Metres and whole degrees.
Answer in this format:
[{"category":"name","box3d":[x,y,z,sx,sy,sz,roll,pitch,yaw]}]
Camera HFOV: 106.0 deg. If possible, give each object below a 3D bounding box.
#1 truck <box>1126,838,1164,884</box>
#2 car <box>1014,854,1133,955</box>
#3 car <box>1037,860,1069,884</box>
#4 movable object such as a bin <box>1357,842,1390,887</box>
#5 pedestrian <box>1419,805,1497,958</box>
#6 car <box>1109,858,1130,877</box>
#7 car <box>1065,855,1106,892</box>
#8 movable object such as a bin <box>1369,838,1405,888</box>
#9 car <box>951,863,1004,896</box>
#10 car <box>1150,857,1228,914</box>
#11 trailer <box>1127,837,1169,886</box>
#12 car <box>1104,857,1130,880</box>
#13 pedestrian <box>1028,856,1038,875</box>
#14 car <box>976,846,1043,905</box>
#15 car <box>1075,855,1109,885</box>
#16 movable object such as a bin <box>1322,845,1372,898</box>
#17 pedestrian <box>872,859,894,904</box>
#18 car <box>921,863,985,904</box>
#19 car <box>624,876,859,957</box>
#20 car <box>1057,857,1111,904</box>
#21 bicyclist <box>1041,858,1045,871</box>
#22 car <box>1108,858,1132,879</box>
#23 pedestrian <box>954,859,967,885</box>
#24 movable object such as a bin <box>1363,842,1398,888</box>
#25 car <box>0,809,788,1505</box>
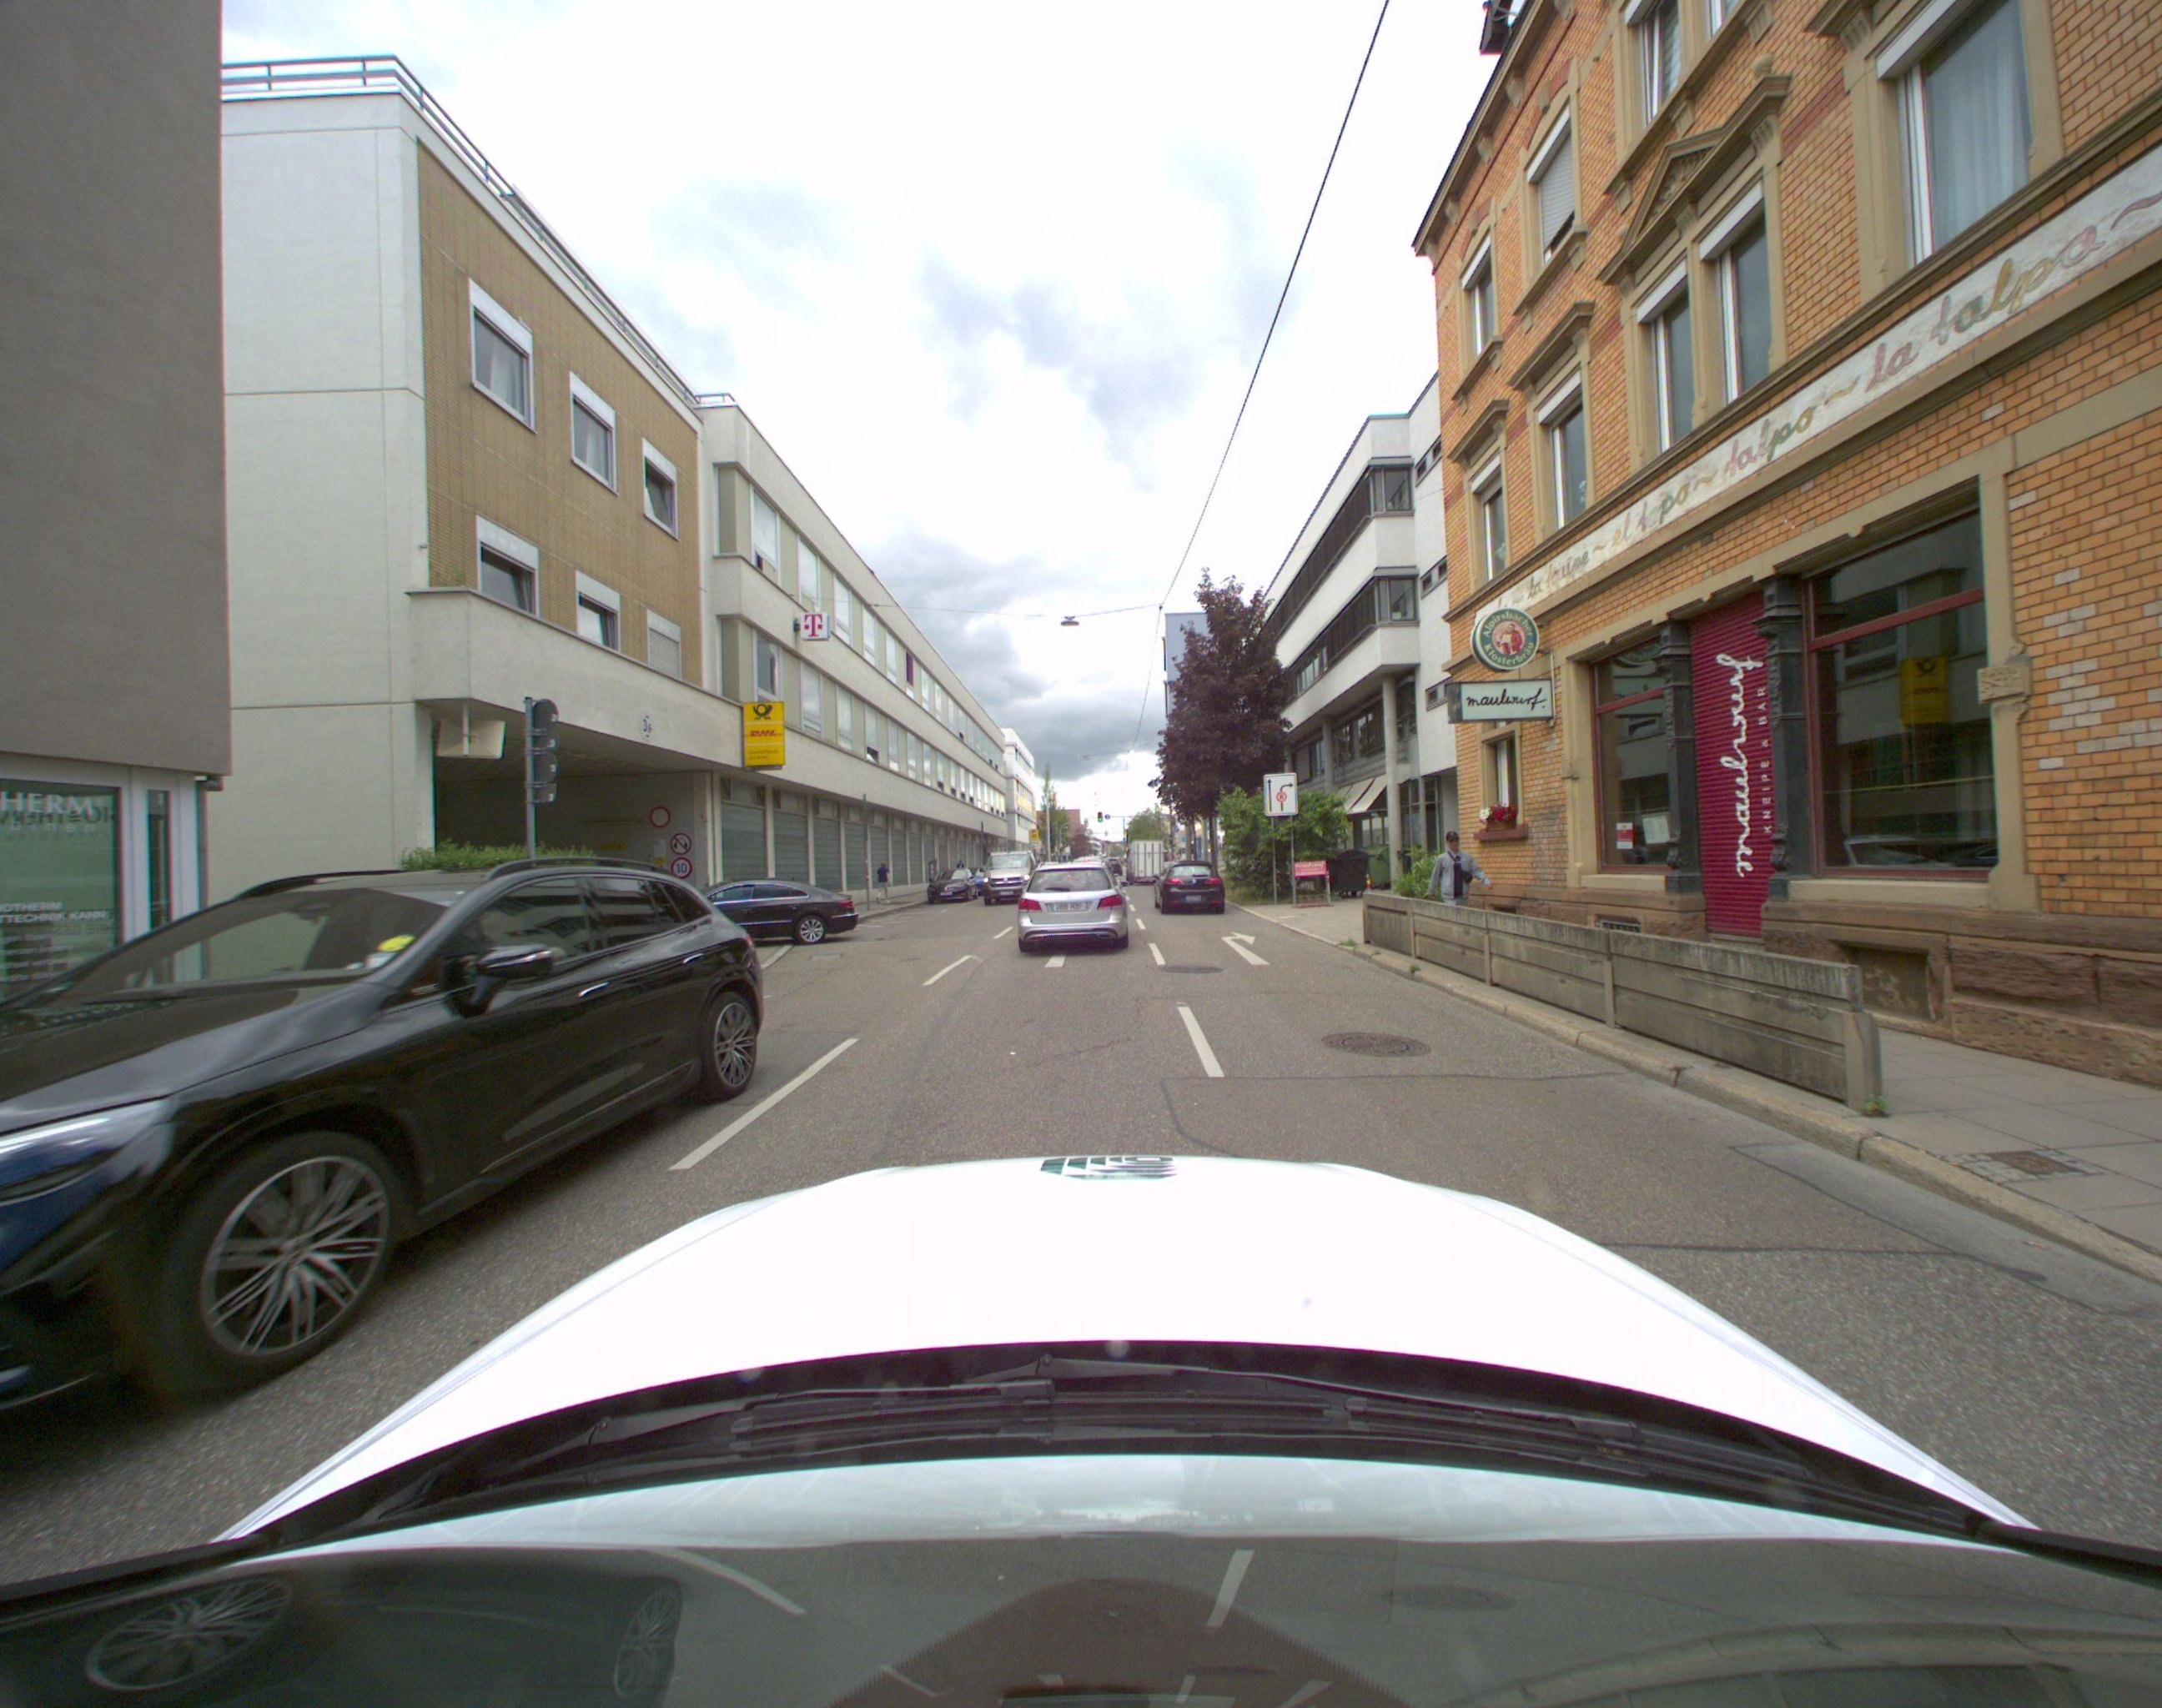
[{"category":"truck","box3d":[3.846,0.429,49.456,1.986,2.607,3.261,-2,0,1]},{"category":"car","box3d":[-0.070,0.792,14.473,1.797,1.492,3.738,-2,0,1]},{"category":"car","box3d":[-1.794,1.175,53.679,1.763,1.413,4.176,-3,0,1]},{"category":"movable object such as a bin","box3d":[10.261,0.368,28.578,0.817,1.504,0.732,-4,-2,3]},{"category":"pedestrian","box3d":[5.167,0.367,11.187,0.691,2.013,0.677,-2,-1,0]},{"category":"car","box3d":[3.354,1.170,71.748,1.797,1.601,3.738,-1,0,1]},{"category":"car","box3d":[0.237,0.860,37.508,1.797,1.601,3.738,-1,0,1]},{"category":"movable object such as a bin","box3d":[10.170,0.300,27.068,0.817,1.589,0.732,-4,-2,3]},{"category":"car","box3d":[-5.126,1.237,40.840,1.986,1.517,4.176,-2,0,1]},{"category":"car","box3d":[3.001,0.826,23.251,1.759,1.433,3.829,-2,0,1]},{"category":"trailer","box3d":[3.783,0.425,46.656,1.986,2.607,5.350,-2,0,1]},{"category":"car","box3d":[2.558,1.039,59.032,1.797,1.601,3.738,-1,0,1]},{"category":"pedestrian","box3d":[-4.910,1.191,84.130,0.915,1.869,0.783,-2,-1,1]},{"category":"car","box3d":[-2.684,0.794,31.856,1.986,2.013,4.903,-3,0,1]},{"category":"car","box3d":[0.625,0.860,45.241,1.797,1.601,3.738,-1,0,1]},{"category":"movable object such as a bin","box3d":[7.985,0.518,24.485,0.940,1.470,1.445,-4,-1,-1]},{"category":"pedestrian","box3d":[-7.947,1.088,32.688,0.640,1.769,0.810,-2,-1,1]},{"category":"car","box3d":[-5.438,1.231,35.158,1.906,1.517,4.176,-4,0,1]},{"category":"car","box3d":[-7.188,1.247,17.410,4.424,1.366,1.769,-2,0,-28]},{"category":"car","box3d":[0.138,0.916,29.568,1.797,1.553,3.738,-2,0,1]},{"category":"bicyclist","box3d":[-4.740,1.333,102.820,0.443,1.697,0.555,-1,-1,1]},{"category":"car","box3d":[3.129,1.118,65.640,1.797,1.601,3.738,-1,0,1]},{"category":"pedestrian","box3d":[-7.817,1.175,52.882,0.653,1.623,0.681,-2,-1,3]},{"category":"movable object such as a bin","box3d":[10.230,0.378,27.821,0.817,1.490,0.732,-4,-2,3]},{"category":"car","box3d":[-3.479,0.832,4.340,1.986,1.738,4.554,-4,0,1]}]
